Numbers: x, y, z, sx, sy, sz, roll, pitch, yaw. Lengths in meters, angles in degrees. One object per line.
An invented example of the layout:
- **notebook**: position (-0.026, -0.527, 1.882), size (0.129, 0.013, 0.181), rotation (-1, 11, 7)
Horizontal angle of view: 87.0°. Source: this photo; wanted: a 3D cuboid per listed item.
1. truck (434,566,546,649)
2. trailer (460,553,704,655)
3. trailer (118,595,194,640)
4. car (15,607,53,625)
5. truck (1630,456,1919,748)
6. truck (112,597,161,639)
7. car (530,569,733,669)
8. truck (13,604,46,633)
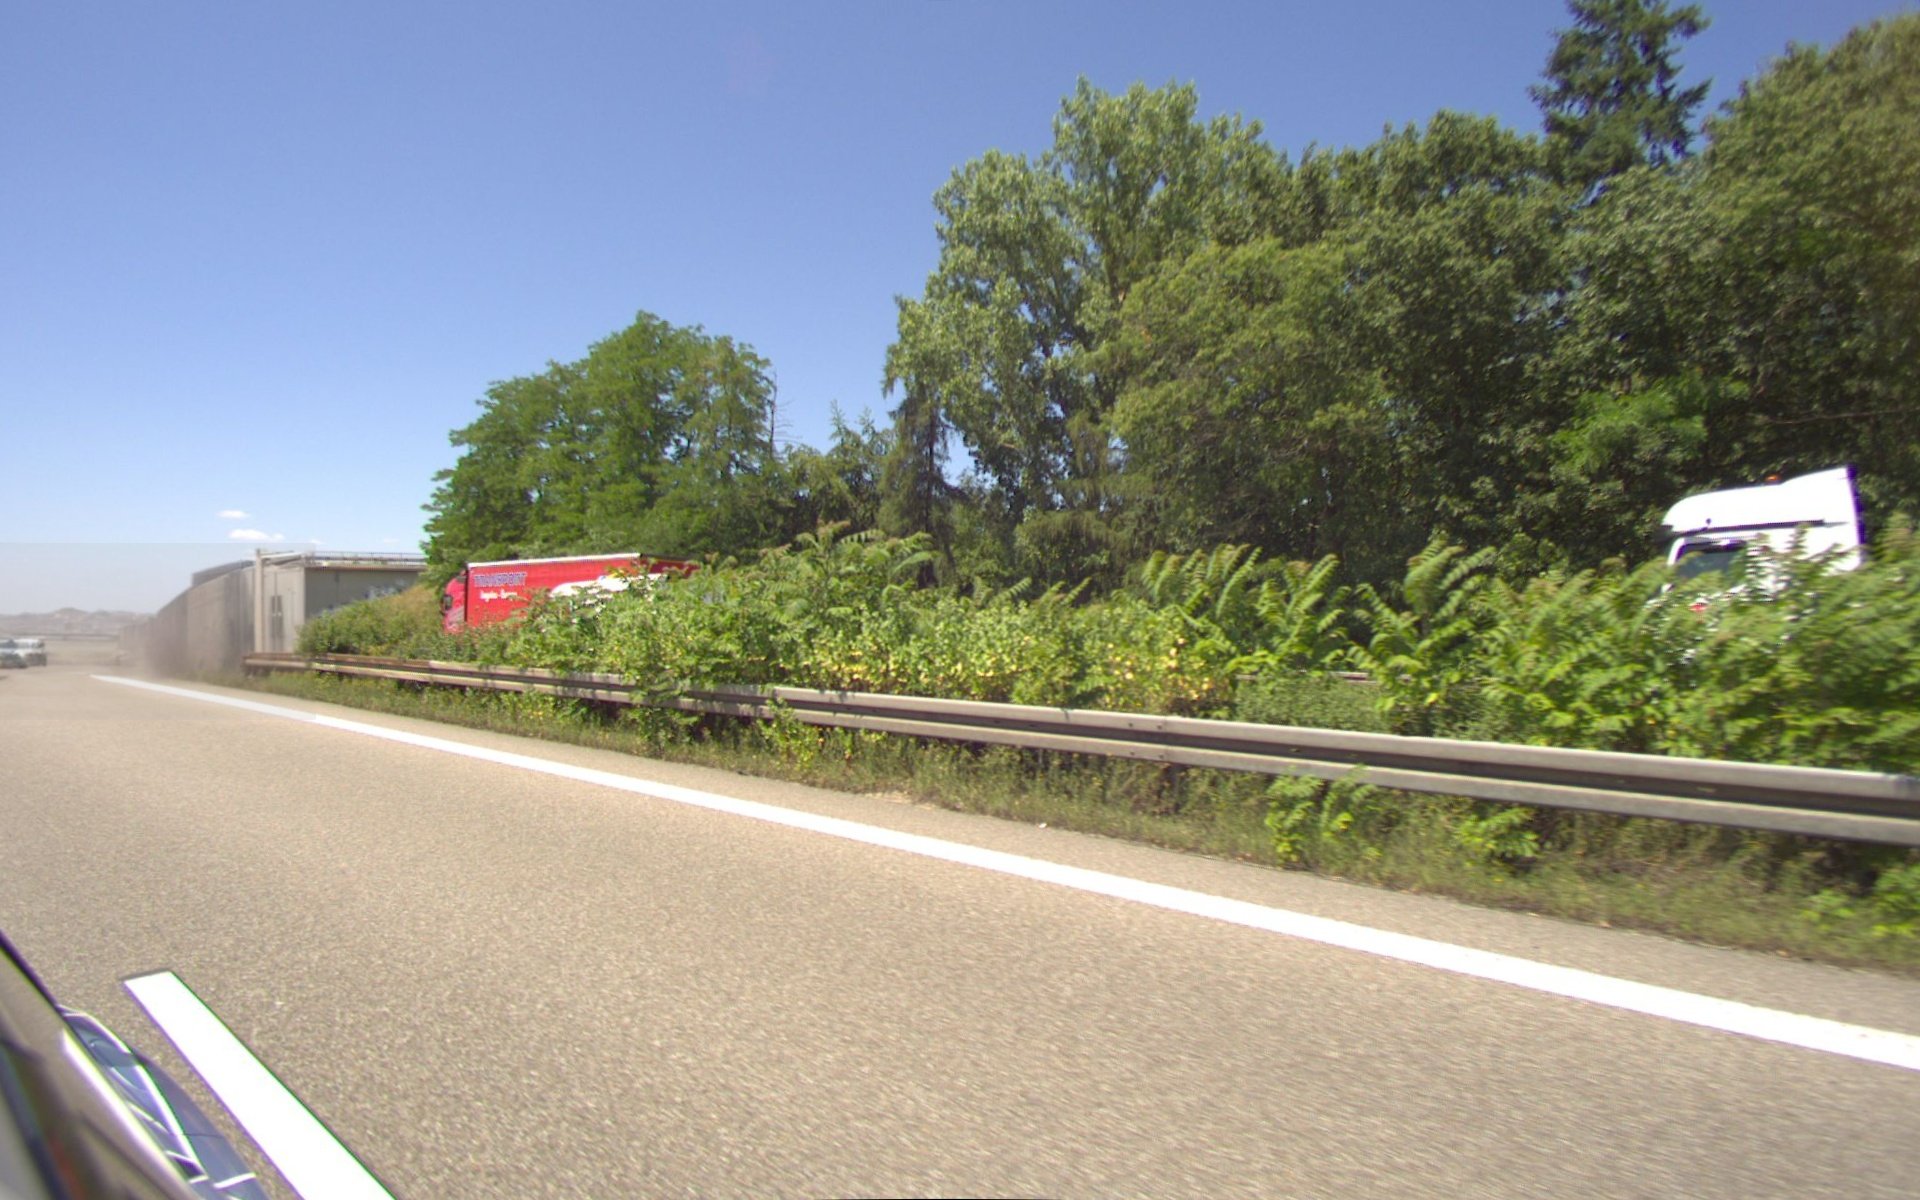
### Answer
- **truck**: position (-20.750, 0.340, 44.564), size (5.114, 3.448, 2.571), rotation (-1, 0, 41)
- **trailer**: position (-15.315, 0.230, 39.846), size (14.148, 3.443, 2.560), rotation (-1, 0, 41)
- **trailer**: position (-70.793, 1.541, 88.936), size (13.922, 3.738, 2.796), rotation (-1, 0, 41)
- **car**: position (-97.880, 1.702, 106.939), size (5.420, 1.794, 2.279), rotation (-1, 0, 40)
- **truck**: position (13.367, 0.007, 13.691), size (6.826, 3.733, 2.563), rotation (-1, 0, 43)
- **truck**: position (-76.443, 1.650, 93.940), size (5.115, 3.749, 2.766), rotation (-1, 0, 42)
- **car**: position (-9.325, 0.601, 28.312), size (6.513, 2.420, 2.279), rotation (-4, -2, 40)
- **truck**: position (-126.604, 2.508, 137.636), size (6.496, 3.927, 2.585), rotation (-1, 0, 41)
